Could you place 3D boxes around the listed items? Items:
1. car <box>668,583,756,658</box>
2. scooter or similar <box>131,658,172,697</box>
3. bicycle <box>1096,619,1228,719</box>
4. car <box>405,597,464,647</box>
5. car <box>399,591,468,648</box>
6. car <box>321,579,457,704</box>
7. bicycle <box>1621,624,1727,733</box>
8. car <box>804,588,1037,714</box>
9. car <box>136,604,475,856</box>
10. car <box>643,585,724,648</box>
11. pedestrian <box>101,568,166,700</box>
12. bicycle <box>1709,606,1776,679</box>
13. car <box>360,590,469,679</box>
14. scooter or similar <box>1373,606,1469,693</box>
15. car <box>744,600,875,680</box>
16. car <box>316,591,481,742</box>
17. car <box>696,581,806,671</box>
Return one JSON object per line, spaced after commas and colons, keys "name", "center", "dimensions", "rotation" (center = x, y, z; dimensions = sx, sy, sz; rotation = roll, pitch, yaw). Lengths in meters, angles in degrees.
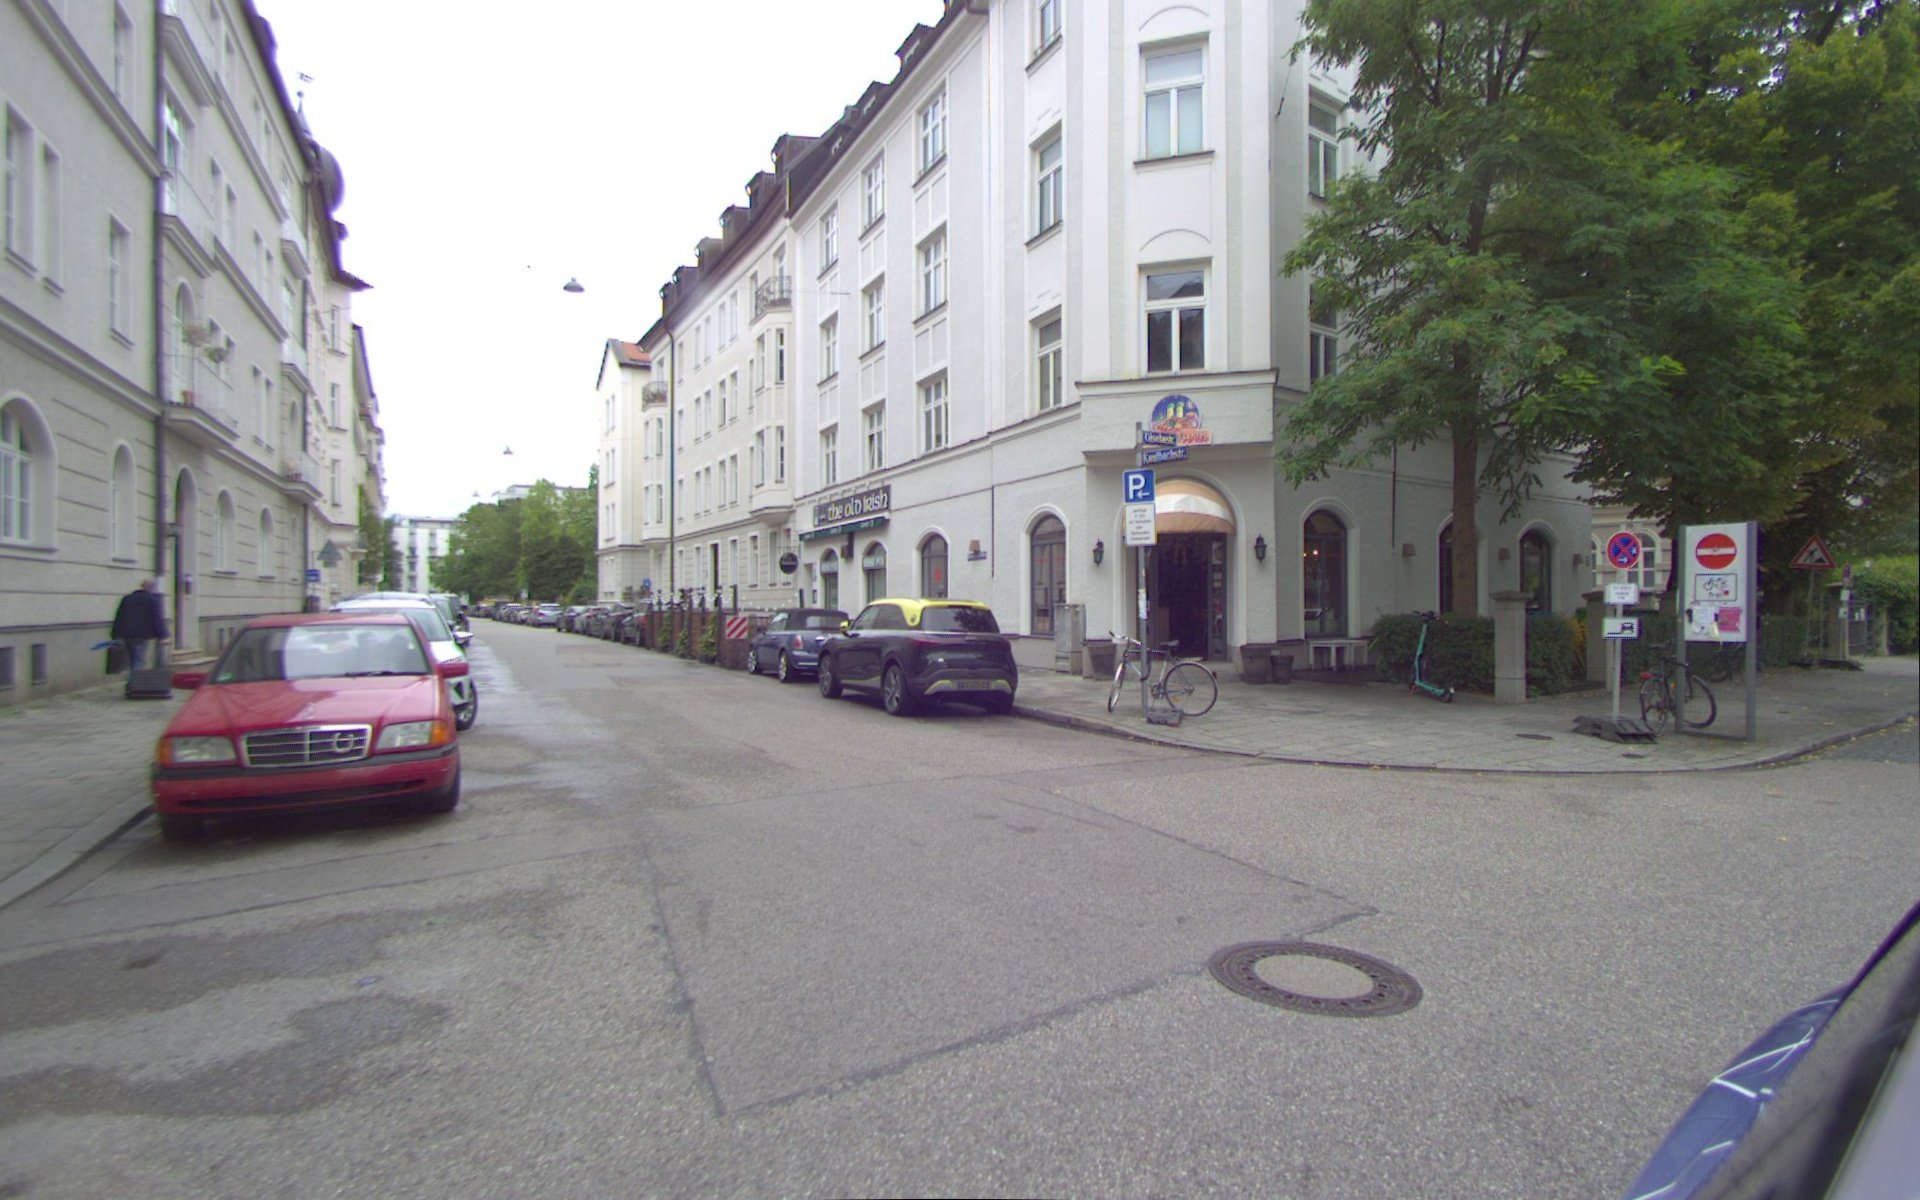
{"name": "car", "center": [-7.018, 0.543, 28.430], "dimensions": [1.695, 1.959, 3.666], "rotation": [-1, 0, -25]}
{"name": "scooter or similar", "center": [-11.651, 1.108, 14.587], "dimensions": [0.451, 0.508, 0.382], "rotation": [0, 0, -41]}
{"name": "bicycle", "center": [2.581, 0.845, 13.047], "dimensions": [0.725, 1.082, 1.607], "rotation": [-4, 4, -33]}
{"name": "car", "center": [-18.959, 0.765, 36.570], "dimensions": [1.795, 1.692, 4.063], "rotation": [-1, 0, -27]}
{"name": "car", "center": [-16.909, 0.589, 32.558], "dimensions": [1.851, 1.685, 4.298], "rotation": [-1, 0, -27]}
{"name": "car", "center": [-9.428, 0.550, 16.953], "dimensions": [1.716, 1.732, 4.349], "rotation": [-2, 2, -27]}
{"name": "bicycle", "center": [8.289, 0.880, 11.735], "dimensions": [1.558, 1.161, 0.390], "rotation": [-1, 0, -30]}
{"name": "car", "center": [-0.754, 0.663, 15.320], "dimensions": [1.867, 1.618, 4.092], "rotation": [-1, 0, -29]}
{"name": "car", "center": [-4.991, 0.746, 8.112], "dimensions": [1.725, 1.375, 4.487], "rotation": [0, 0, -29]}
{"name": "car", "center": [-8.861, 0.495, 32.237], "dimensions": [1.707, 1.836, 4.005], "rotation": [-1, 0, -27]}
{"name": "pedestrian", "center": [-12.201, 0.485, 14.940], "dimensions": [0.730, 1.900, 0.494], "rotation": [0, -1, -42]}
{"name": "bicycle", "center": [14.197, 0.755, 18.340], "dimensions": [1.698, 1.212, 0.429], "rotation": [-1, 5, -36]}
{"name": "car", "center": [-11.469, 0.635, 21.425], "dimensions": [1.851, 1.684, 4.298], "rotation": [0, 0, -27]}
{"name": "scooter or similar", "center": [6.900, 0.709, 15.230], "dimensions": [0.396, 1.187, 1.611], "rotation": [-1, 1, -13]}
{"name": "car", "center": [-3.124, 0.741, 20.456], "dimensions": [1.666, 1.443, 3.546], "rotation": [-1, 0, -25]}
{"name": "car", "center": [-6.979, 0.687, 12.489], "dimensions": [1.535, 1.540, 3.901], "rotation": [0, 0, -31]}
{"name": "car", "center": [-5.189, 0.579, 24.747], "dimensions": [1.738, 1.994, 3.938], "rotation": [-1, 0, -25]}
